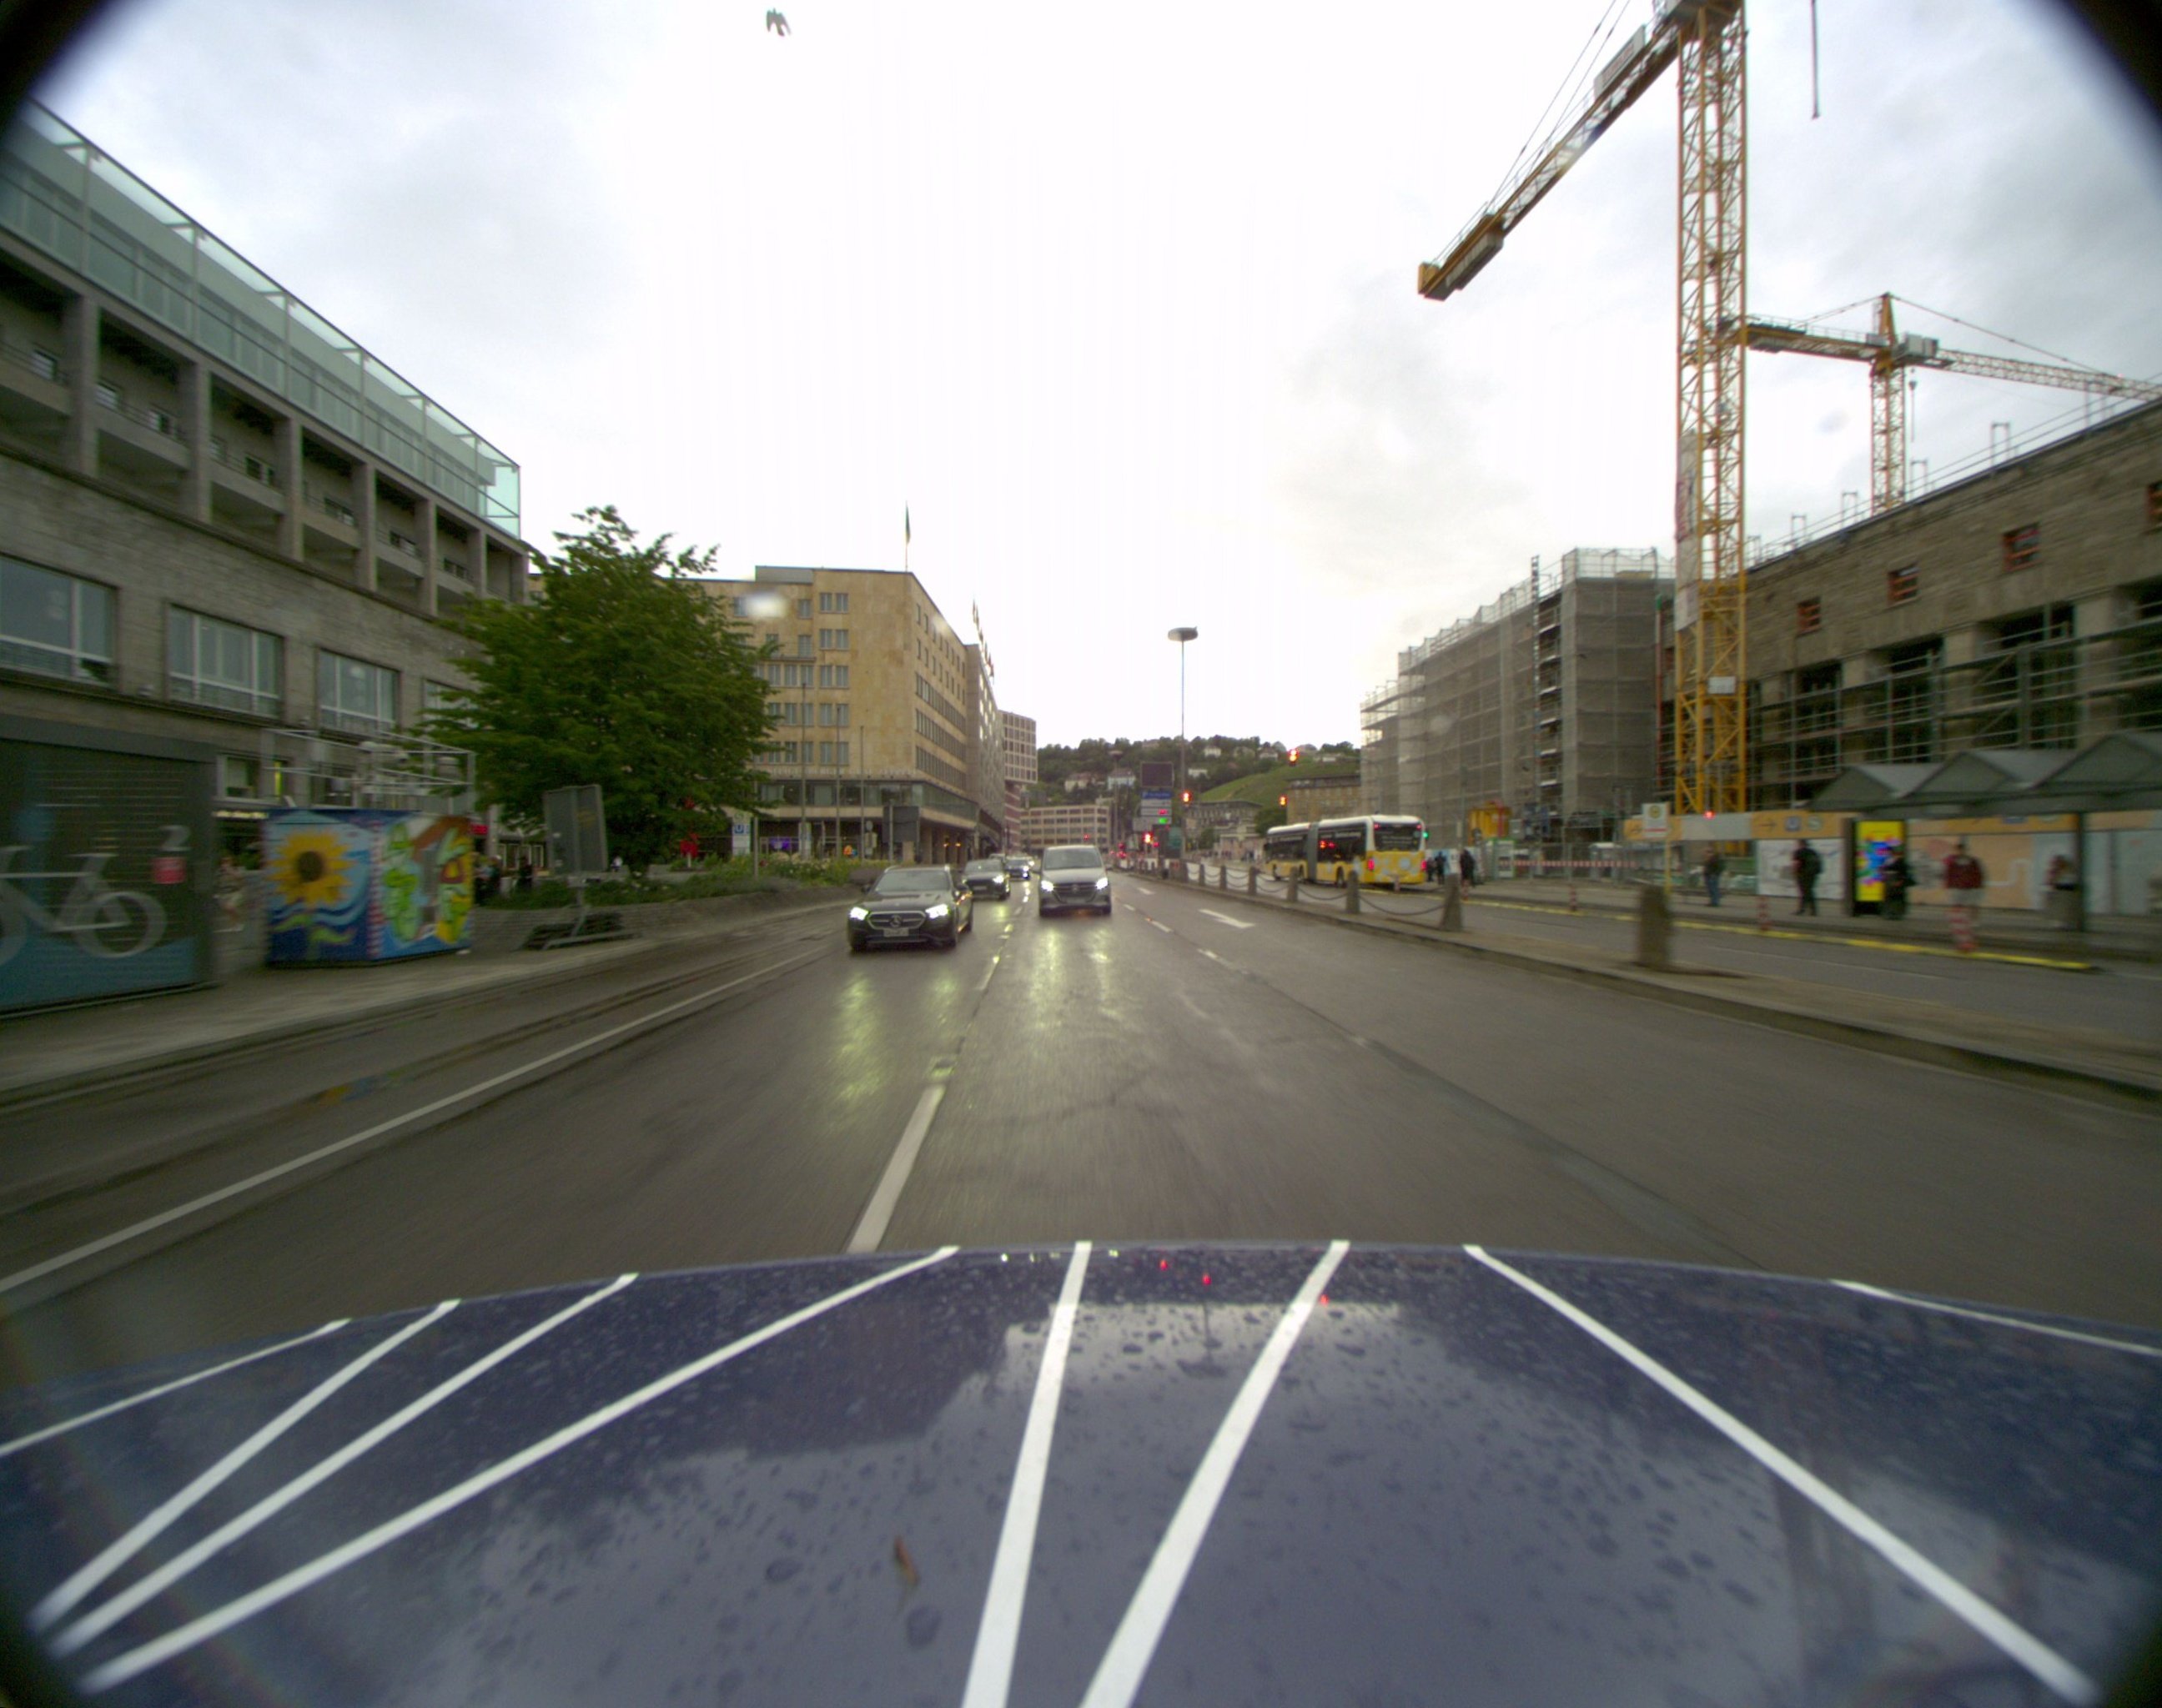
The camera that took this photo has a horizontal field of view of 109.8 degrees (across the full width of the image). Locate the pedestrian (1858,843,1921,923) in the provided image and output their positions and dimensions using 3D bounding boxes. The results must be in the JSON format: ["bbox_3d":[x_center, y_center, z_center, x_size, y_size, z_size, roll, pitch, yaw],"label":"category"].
[{"bbox_3d":[18.516,0.652,17.412,0.558,1.780,0.804,-1,1,-12],"label":"pedestrian"}]

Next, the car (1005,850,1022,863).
[{"bbox_3d":[-8.814,0.355,99.507,1.999,1.600,4.875,-1,0,-2],"label":"car"}]

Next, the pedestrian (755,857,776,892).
[{"bbox_3d":[-16.022,1.042,38.596,0.699,1.741,0.836,-1,1,-5],"label":"pedestrian"}]

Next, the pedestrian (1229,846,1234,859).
[{"bbox_3d":[23.162,-0.206,116.916,0.593,2.022,0.686,-1,1,-2],"label":"pedestrian"}]

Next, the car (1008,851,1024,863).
[{"bbox_3d":[-8.966,0.400,105.101,1.999,1.605,4.917,-1,0,-2],"label":"car"}]

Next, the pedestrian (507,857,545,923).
[{"bbox_3d":[-15.007,0.957,20.565,0.568,1.741,0.567,-1,1,-5],"label":"pedestrian"}]

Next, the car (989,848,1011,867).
[{"bbox_3d":[-8.614,0.362,81.339,1.999,1.873,4.995,-1,0,-2],"label":"car"}]

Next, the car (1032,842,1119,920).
[{"bbox_3d":[-0.297,0.679,21.883,1.999,1.893,5.248,-2,0,-5],"label":"car"}]

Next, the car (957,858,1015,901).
[{"bbox_3d":[-3.657,0.953,30.002,1.877,1.499,4.163,-1,0,-2],"label":"car"}]

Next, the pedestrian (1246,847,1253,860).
[{"bbox_3d":[22.199,-0.033,100.296,0.807,1.675,0.617,-1,1,1],"label":"pedestrian"}]

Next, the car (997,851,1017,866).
[{"bbox_3d":[-8.462,0.535,87.505,1.999,1.644,5.133,-1,0,-2],"label":"car"}]

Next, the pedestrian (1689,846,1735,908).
[{"bbox_3d":[18.292,0.656,22.036,0.700,1.780,0.794,-1,1,9],"label":"pedestrian"}]

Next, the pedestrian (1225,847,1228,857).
[{"bbox_3d":[22.259,-0.278,116.284,0.438,1.606,0.413,-1,1,-2],"label":"pedestrian"}]

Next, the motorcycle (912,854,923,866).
[{"bbox_3d":[-17.623,0.646,81.988,0.730,1.223,2.536,-1,0,-2],"label":"motorcycle"}]

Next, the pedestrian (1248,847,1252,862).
[{"bbox_3d":[20.280,0.023,91.098,0.311,1.759,0.346,-1,1,2],"label":"pedestrian"}]

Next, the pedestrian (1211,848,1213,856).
[{"bbox_3d":[24.224,-0.387,140.443,0.375,1.606,0.357,-1,1,-2],"label":"pedestrian"}]

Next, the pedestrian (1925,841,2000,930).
[{"bbox_3d":[18.328,0.638,15.804,0.726,1.780,0.747,-1,1,-9],"label":"pedestrian"}]

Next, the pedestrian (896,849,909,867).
[{"bbox_3d":[-17.787,0.390,75.653,1.001,1.836,1.109,0,1,0],"label":"pedestrian"}]

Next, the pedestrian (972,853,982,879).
[{"bbox_3d":[-7.906,0.889,57.739,0.674,1.908,0.792,-1,1,-2],"label":"pedestrian"}]

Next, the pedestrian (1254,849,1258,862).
[{"bbox_3d":[21.147,0.201,91.762,0.401,1.611,0.365,-2,1,3],"label":"pedestrian"}]

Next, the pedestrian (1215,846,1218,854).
[{"bbox_3d":[23.520,-0.695,132.014,0.438,1.344,0.413,-1,1,7],"label":"pedestrian"}]

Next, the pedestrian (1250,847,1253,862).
[{"bbox_3d":[20.445,0.064,90.970,0.314,1.760,0.268,-2,1,2],"label":"pedestrian"}]

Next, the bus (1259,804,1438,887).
[{"bbox_3d":[13.672,-0.426,42.086,2.917,3.557,19.073,0,0,-1],"label":"bus"}]

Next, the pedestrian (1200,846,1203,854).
[{"bbox_3d":[23.995,-0.819,151.759,0.438,1.606,0.414,-1,1,22],"label":"pedestrian"}]

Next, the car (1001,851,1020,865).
[{"bbox_3d":[-8.657,0.492,93.478,1.999,1.627,4.558,-1,0,-2],"label":"car"}]

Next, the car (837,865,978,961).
[{"bbox_3d":[-3.223,1.027,15.080,1.823,1.455,4.698,-2,0,-2],"label":"car"}]

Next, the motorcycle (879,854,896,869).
[{"bbox_3d":[-19.087,0.725,75.063,0.964,1.444,2.850,-1,0,-2],"label":"motorcycle"}]

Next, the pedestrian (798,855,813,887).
[{"bbox_3d":[-15.145,0.928,41.734,0.536,1.780,0.681,-1,1,1],"label":"pedestrian"}]

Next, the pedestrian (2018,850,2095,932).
[{"bbox_3d":[20.045,0.737,15.629,0.558,1.621,0.804,-1,1,-12],"label":"pedestrian"}]

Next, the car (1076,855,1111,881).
[{"bbox_3d":[0.670,0.764,43.019,1.747,1.369,3.999,-1,0,-2],"label":"car"}]

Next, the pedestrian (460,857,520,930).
[{"bbox_3d":[-14.679,0.958,18.891,0.642,1.741,1.076,-1,1,-5],"label":"pedestrian"}]

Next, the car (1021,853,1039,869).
[{"bbox_3d":[-5.454,0.770,81.299,1.763,1.582,3.841,-2,1,-2],"label":"car"}]

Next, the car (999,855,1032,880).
[{"bbox_3d":[-4.394,0.893,51.603,1.999,1.549,3.907,-1,0,-2],"label":"car"}]

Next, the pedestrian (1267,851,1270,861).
[{"bbox_3d":[22.339,0.226,90.761,0.255,1.187,0.390,-2,1,4],"label":"pedestrian"}]

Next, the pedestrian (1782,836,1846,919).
[{"bbox_3d":[17.870,0.554,18.546,0.761,1.947,0.822,-1,1,-6],"label":"pedestrian"}]
